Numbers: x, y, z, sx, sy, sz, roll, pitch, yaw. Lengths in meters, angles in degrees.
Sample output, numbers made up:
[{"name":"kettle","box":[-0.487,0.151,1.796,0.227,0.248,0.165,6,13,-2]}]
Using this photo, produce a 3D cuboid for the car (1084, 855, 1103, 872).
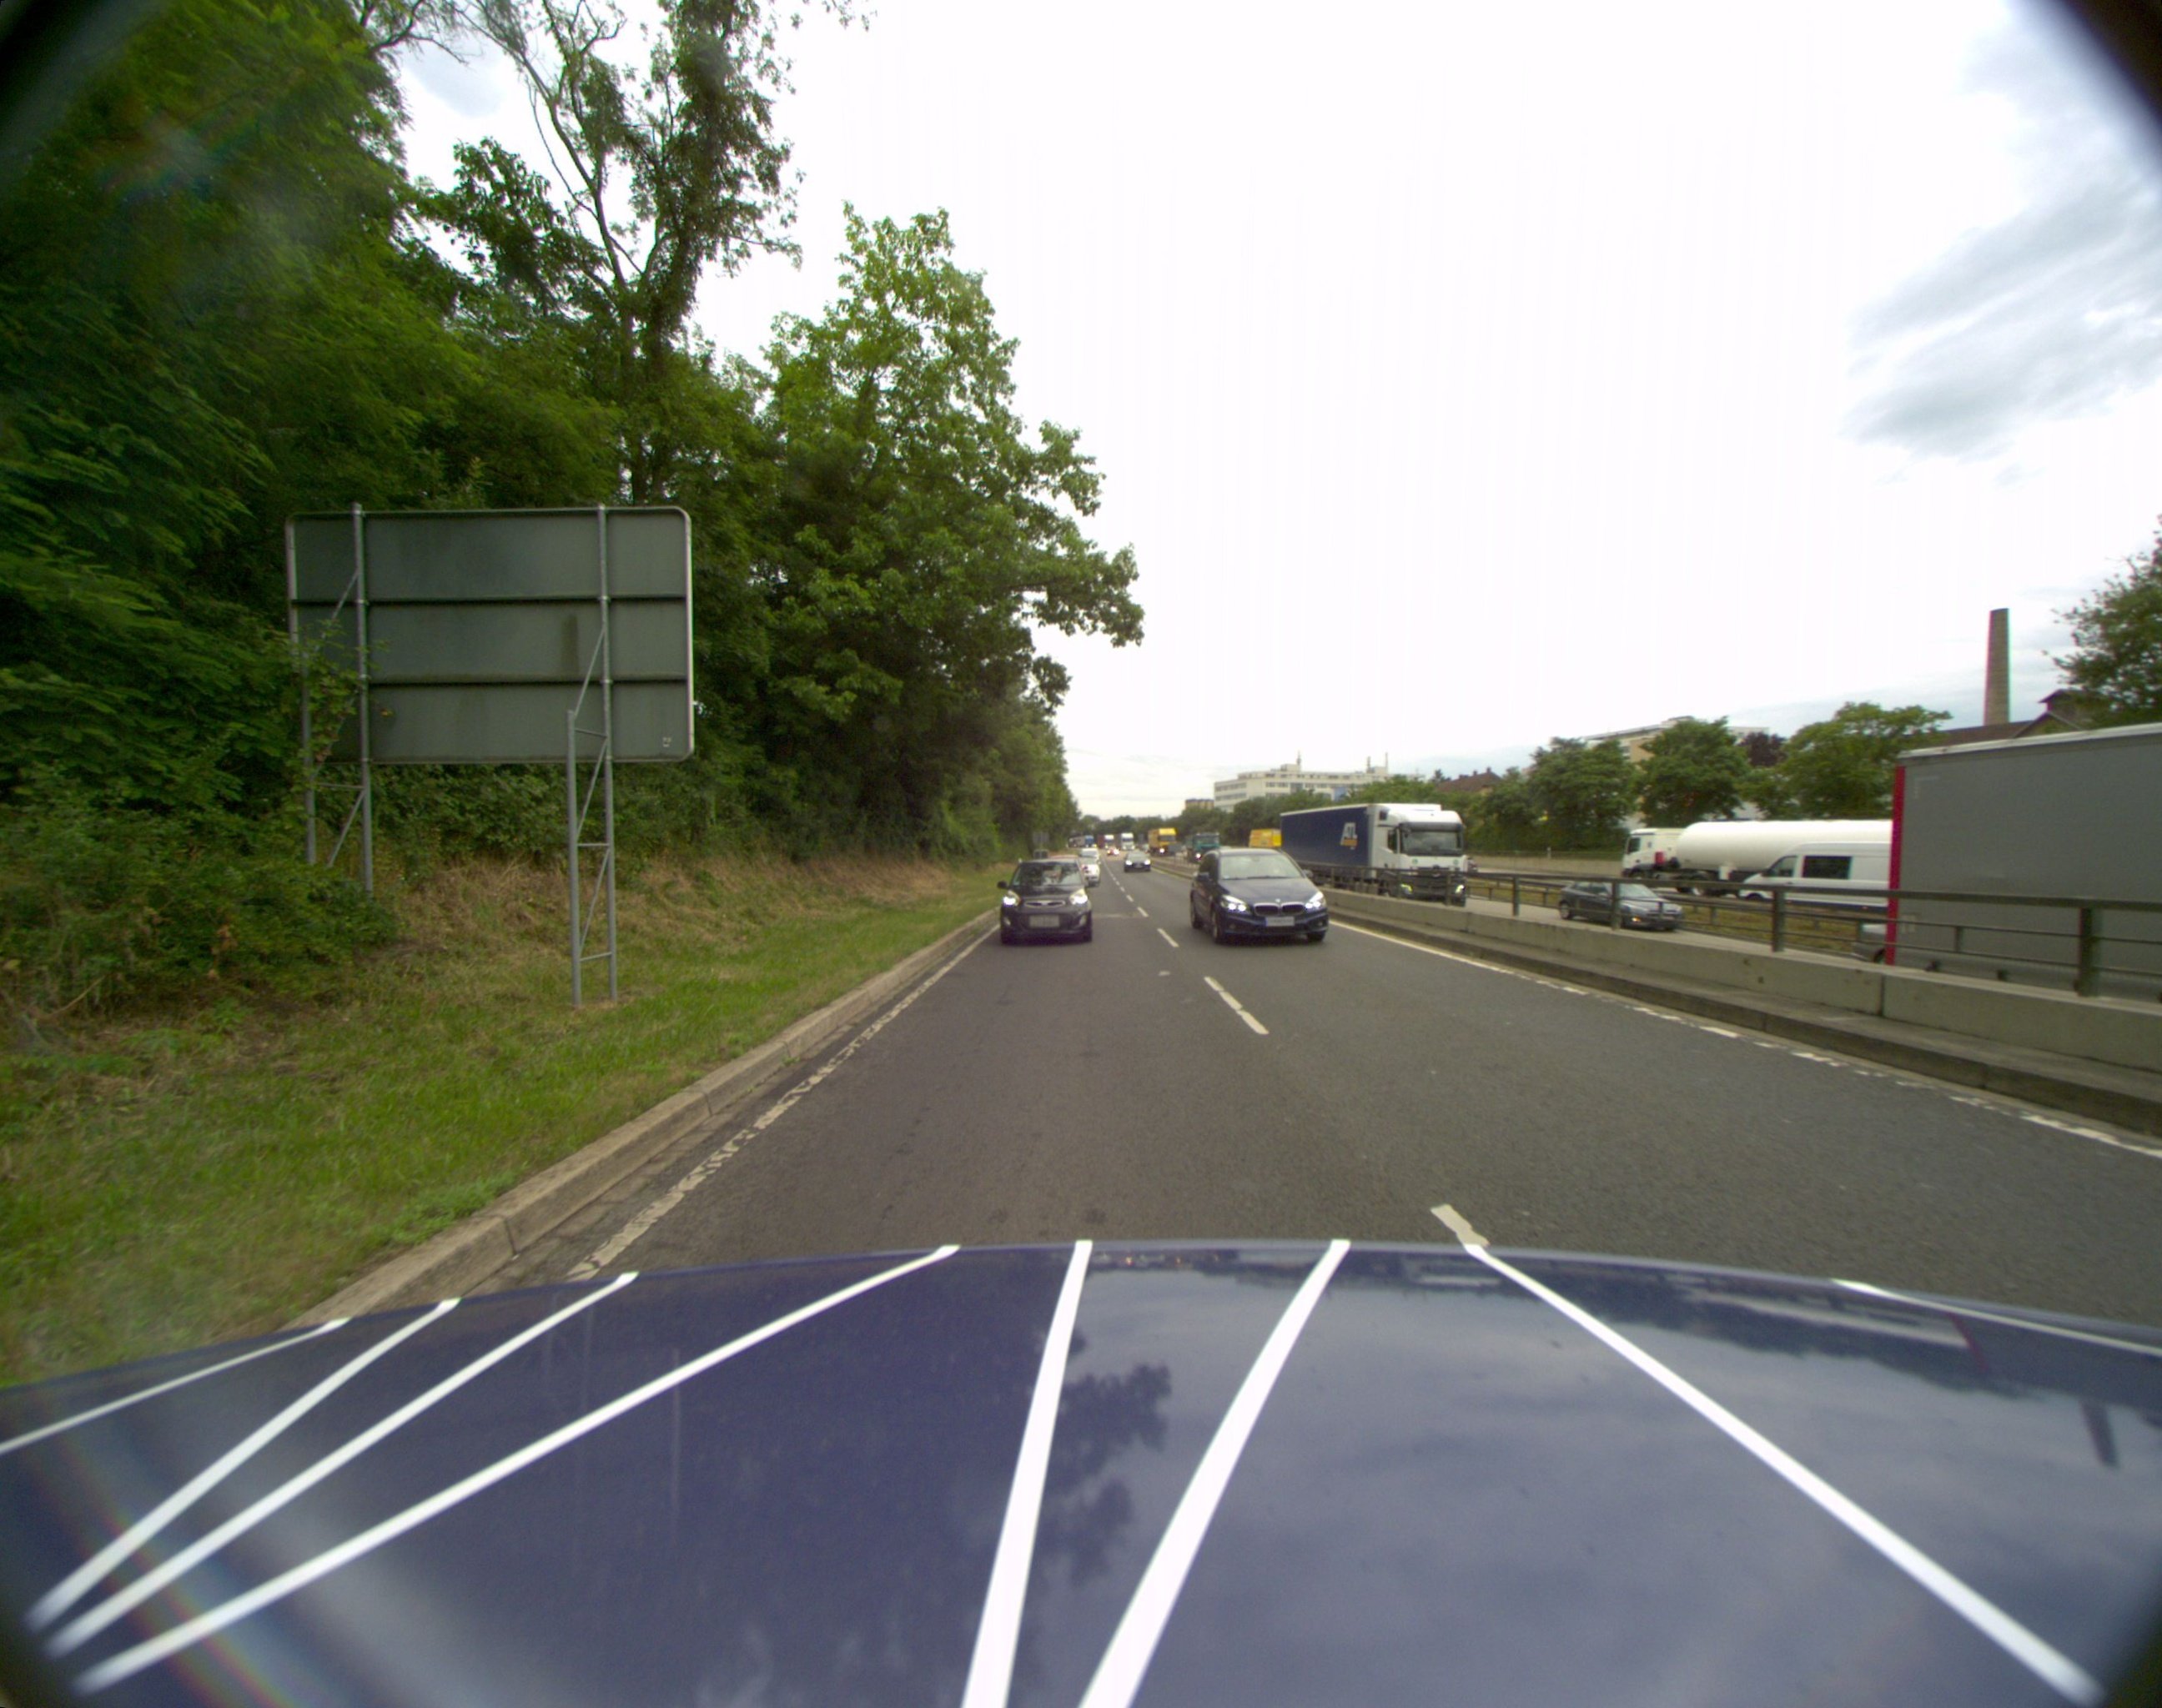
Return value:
[{"name":"car","box":[1.101,0.838,67.159,1.628,1.337,3.999,-2,1,1]}]

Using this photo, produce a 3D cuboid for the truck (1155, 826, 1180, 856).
[{"name":"truck","box":[12.838,-1.971,113.228,2.893,4.319,6.518,0,1,0]}]

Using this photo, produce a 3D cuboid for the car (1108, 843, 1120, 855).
[{"name":"car","box":[5.486,-0.863,125.962,1.769,1.786,4.577,-2,1,1]}]

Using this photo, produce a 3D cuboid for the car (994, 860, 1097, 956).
[{"name":"car","box":[-0.562,0.908,14.448,1.628,1.433,3.999,-2,1,1]}]

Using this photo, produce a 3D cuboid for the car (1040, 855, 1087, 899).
[{"name":"car","box":[-0.595,0.822,29.054,1.628,1.433,3.999,-2,1,1]}]

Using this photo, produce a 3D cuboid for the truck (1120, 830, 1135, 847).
[{"name":"truck","box":[11.372,-3.694,185.421,2.957,4.014,13.776,0,1,1]}]

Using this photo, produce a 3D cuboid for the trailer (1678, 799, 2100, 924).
[{"name":"trailer","box":[27.777,0.123,27.698,2.531,3.574,12.010,0,1,0]}]

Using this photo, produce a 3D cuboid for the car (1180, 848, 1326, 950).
[{"name":"car","box":[3.066,0.709,14.471,1.784,1.555,4.421,-2,1,1]}]

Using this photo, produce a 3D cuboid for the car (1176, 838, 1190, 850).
[{"name":"car","box":[18.620,-1.815,139.116,1.998,2.002,3.999,-2,1,1]}]

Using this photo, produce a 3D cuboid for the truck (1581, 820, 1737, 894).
[{"name":"truck","box":[27.805,0.067,36.972,2.531,3.272,6.575,0,1,0]}]

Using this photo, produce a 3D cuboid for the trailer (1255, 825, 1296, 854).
[{"name":"trailer","box":[28.689,-2.162,112.807,2.531,4.014,13.774,0,1,0]}]

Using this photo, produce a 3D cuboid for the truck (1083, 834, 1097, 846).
[{"name":"truck","box":[2.969,-4.784,260.115,2.533,4.014,13.765,0,1,-8]}]

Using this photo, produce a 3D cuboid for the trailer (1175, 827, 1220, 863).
[{"name":"trailer","box":[12.788,-1.033,85.045,2.613,3.620,16.746,0,1,1]}]

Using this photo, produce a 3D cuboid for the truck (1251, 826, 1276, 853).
[{"name":"truck","box":[28.711,-2.271,119.614,2.531,4.014,6.095,0,1,0]}]

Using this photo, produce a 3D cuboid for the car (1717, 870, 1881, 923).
[{"name":"car","box":[23.208,1.325,24.778,1.628,1.433,3.895,0,1,0]}]

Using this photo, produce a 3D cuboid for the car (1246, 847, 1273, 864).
[{"name":"car","box":[16.904,0.122,71.969,1.628,1.433,3.999,-2,1,1]}]

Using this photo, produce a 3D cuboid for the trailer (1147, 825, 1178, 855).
[{"name":"trailer","box":[12.920,-2.224,122.253,2.898,4.329,19.918,0,1,1]}]

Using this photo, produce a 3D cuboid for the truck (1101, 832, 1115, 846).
[{"name":"truck","box":[7.799,-4.318,221.033,2.532,4.014,13.769,0,1,-5]}]

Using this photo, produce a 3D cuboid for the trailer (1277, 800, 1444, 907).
[{"name":"trailer","box":[12.397,-0.129,35.893,2.531,4.014,14.781,0,1,1]}]

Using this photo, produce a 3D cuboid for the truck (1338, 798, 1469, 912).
[{"name":"truck","box":[12.330,-0.011,29.678,2.531,4.014,6.095,0,1,0]}]

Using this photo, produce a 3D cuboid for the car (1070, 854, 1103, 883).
[{"name":"car","box":[0.287,0.751,40.126,1.628,1.337,3.999,-2,1,1]}]

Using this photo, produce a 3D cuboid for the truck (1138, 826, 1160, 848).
[{"name":"truck","box":[12.896,-3.149,145.013,2.957,4.014,13.776,0,1,1]}]

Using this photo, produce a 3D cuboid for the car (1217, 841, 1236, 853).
[{"name":"car","box":[18.340,-0.914,95.769,1.628,1.433,3.999,-2,1,1]}]

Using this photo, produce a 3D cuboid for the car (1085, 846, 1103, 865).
[{"name":"car","box":[1.307,0.098,76.855,1.769,1.786,4.577,-2,1,1]}]

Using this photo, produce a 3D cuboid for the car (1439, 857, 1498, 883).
[{"name":"car","box":[23.922,0.981,47.078,1.628,1.433,3.895,0,1,0]}]

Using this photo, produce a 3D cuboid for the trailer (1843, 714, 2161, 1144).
[{"name":"trailer","box":[11.390,0.772,2.766,2.658,4.014,14.552,0,1,1]}]

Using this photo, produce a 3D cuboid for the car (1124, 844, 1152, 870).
[{"name":"car","box":[4.207,0.155,56.698,1.769,1.786,4.577,-2,1,1]}]

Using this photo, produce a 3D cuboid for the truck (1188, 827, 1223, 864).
[{"name":"truck","box":[12.737,-0.927,78.183,2.645,3.615,6.666,0,1,0]}]

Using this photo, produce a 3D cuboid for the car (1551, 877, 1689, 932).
[{"name":"car","box":[17.137,1.551,24.424,1.628,1.433,3.895,0,1,0]}]
